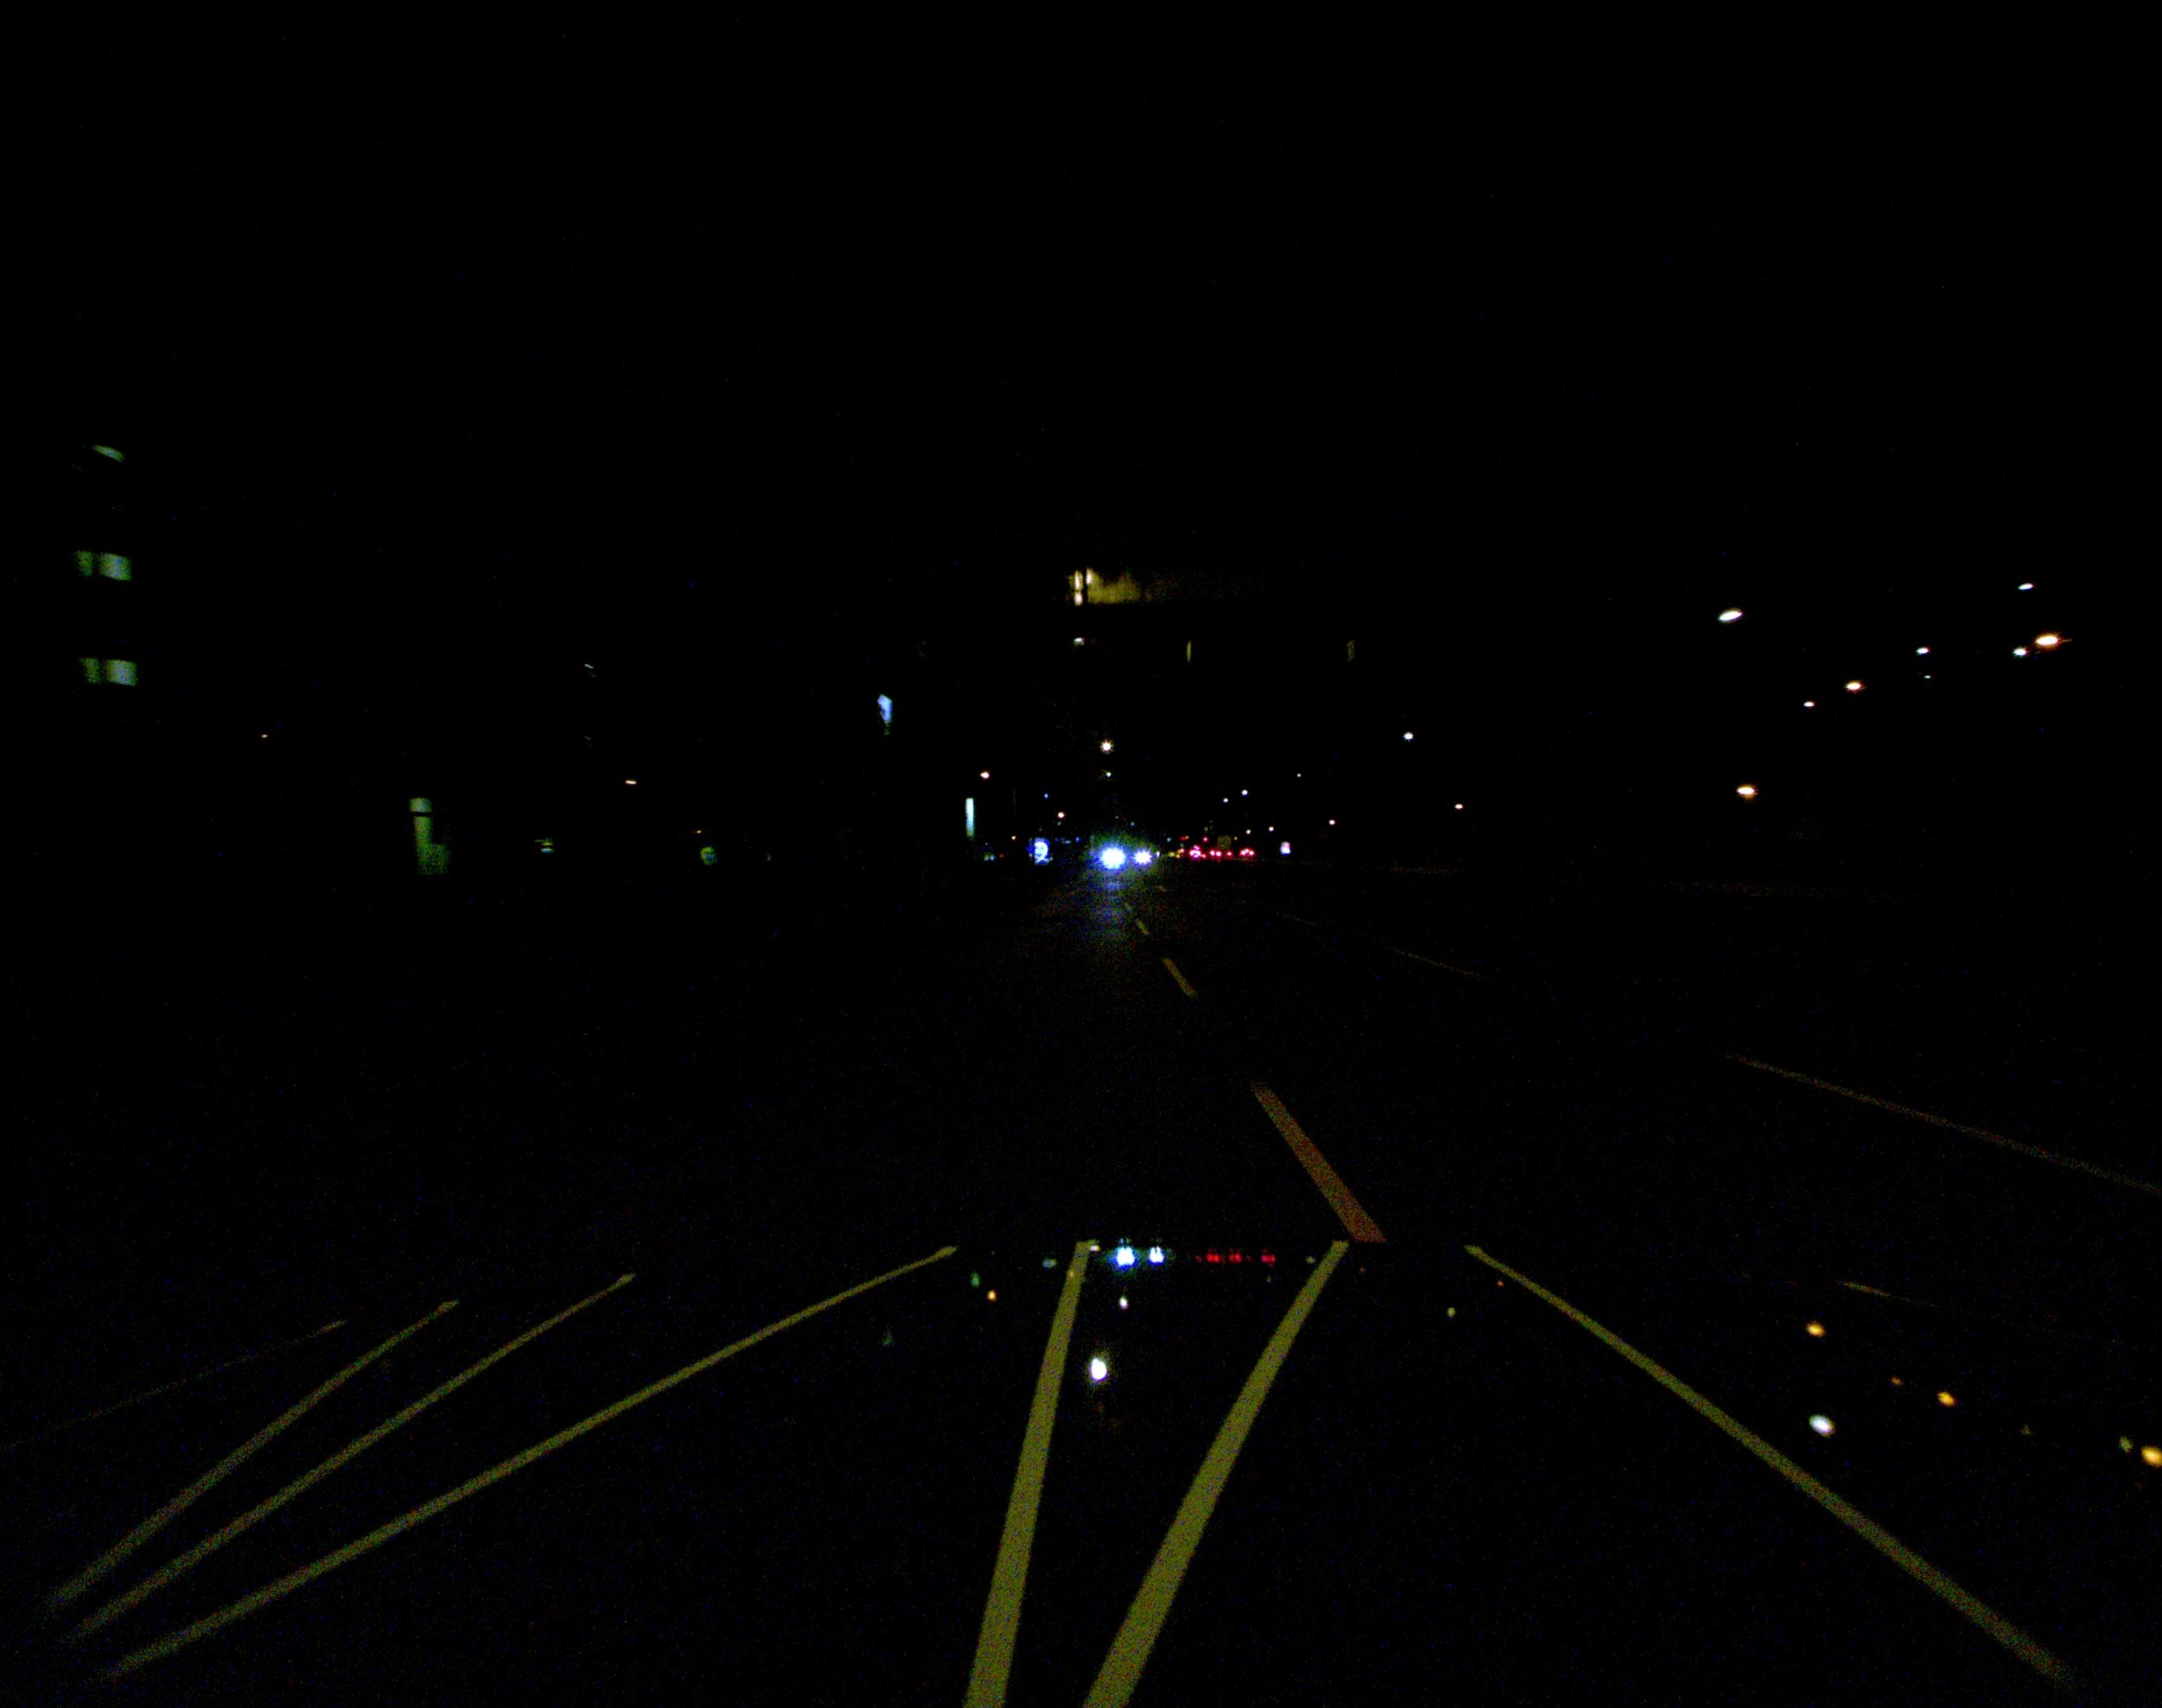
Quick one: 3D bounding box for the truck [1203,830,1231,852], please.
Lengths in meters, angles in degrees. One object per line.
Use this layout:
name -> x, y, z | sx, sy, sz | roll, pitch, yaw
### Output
truck -> 26.340, -2.496, 147.794 | 3.690, 3.932, 10.420 | -3, 1, 2

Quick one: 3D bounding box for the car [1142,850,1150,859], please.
car -> 16.278, 0.048, 190.699 | 1.793, 2.002, 4.001 | -3, 1, 8

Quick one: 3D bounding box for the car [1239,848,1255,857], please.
car -> 28.713, -0.285, 131.321 | 1.991, 1.473, 4.203 | 0, 1, 2

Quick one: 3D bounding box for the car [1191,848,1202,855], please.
car -> 25.307, -0.587, 166.714 | 1.809, 1.490, 4.084 | -2, 1, 0

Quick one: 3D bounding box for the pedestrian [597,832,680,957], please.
pedestrian -> -6.999, 0.613, 12.036 | 0.806, 1.902, 0.794 | 1, 1, 10

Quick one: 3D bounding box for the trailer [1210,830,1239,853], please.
trailer -> 26.097, -2.330, 138.297 | 3.705, 3.967, 8.394 | -3, 1, 2

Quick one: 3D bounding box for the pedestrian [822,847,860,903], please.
pedestrian -> -7.397, 0.622, 23.453 | 0.854, 1.697, 0.957 | 0, 2, 1

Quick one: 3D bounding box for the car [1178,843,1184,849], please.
car -> 32.247, -2.492, 244.032 | 1.793, 1.896, 4.001 | -3, 1, 8
